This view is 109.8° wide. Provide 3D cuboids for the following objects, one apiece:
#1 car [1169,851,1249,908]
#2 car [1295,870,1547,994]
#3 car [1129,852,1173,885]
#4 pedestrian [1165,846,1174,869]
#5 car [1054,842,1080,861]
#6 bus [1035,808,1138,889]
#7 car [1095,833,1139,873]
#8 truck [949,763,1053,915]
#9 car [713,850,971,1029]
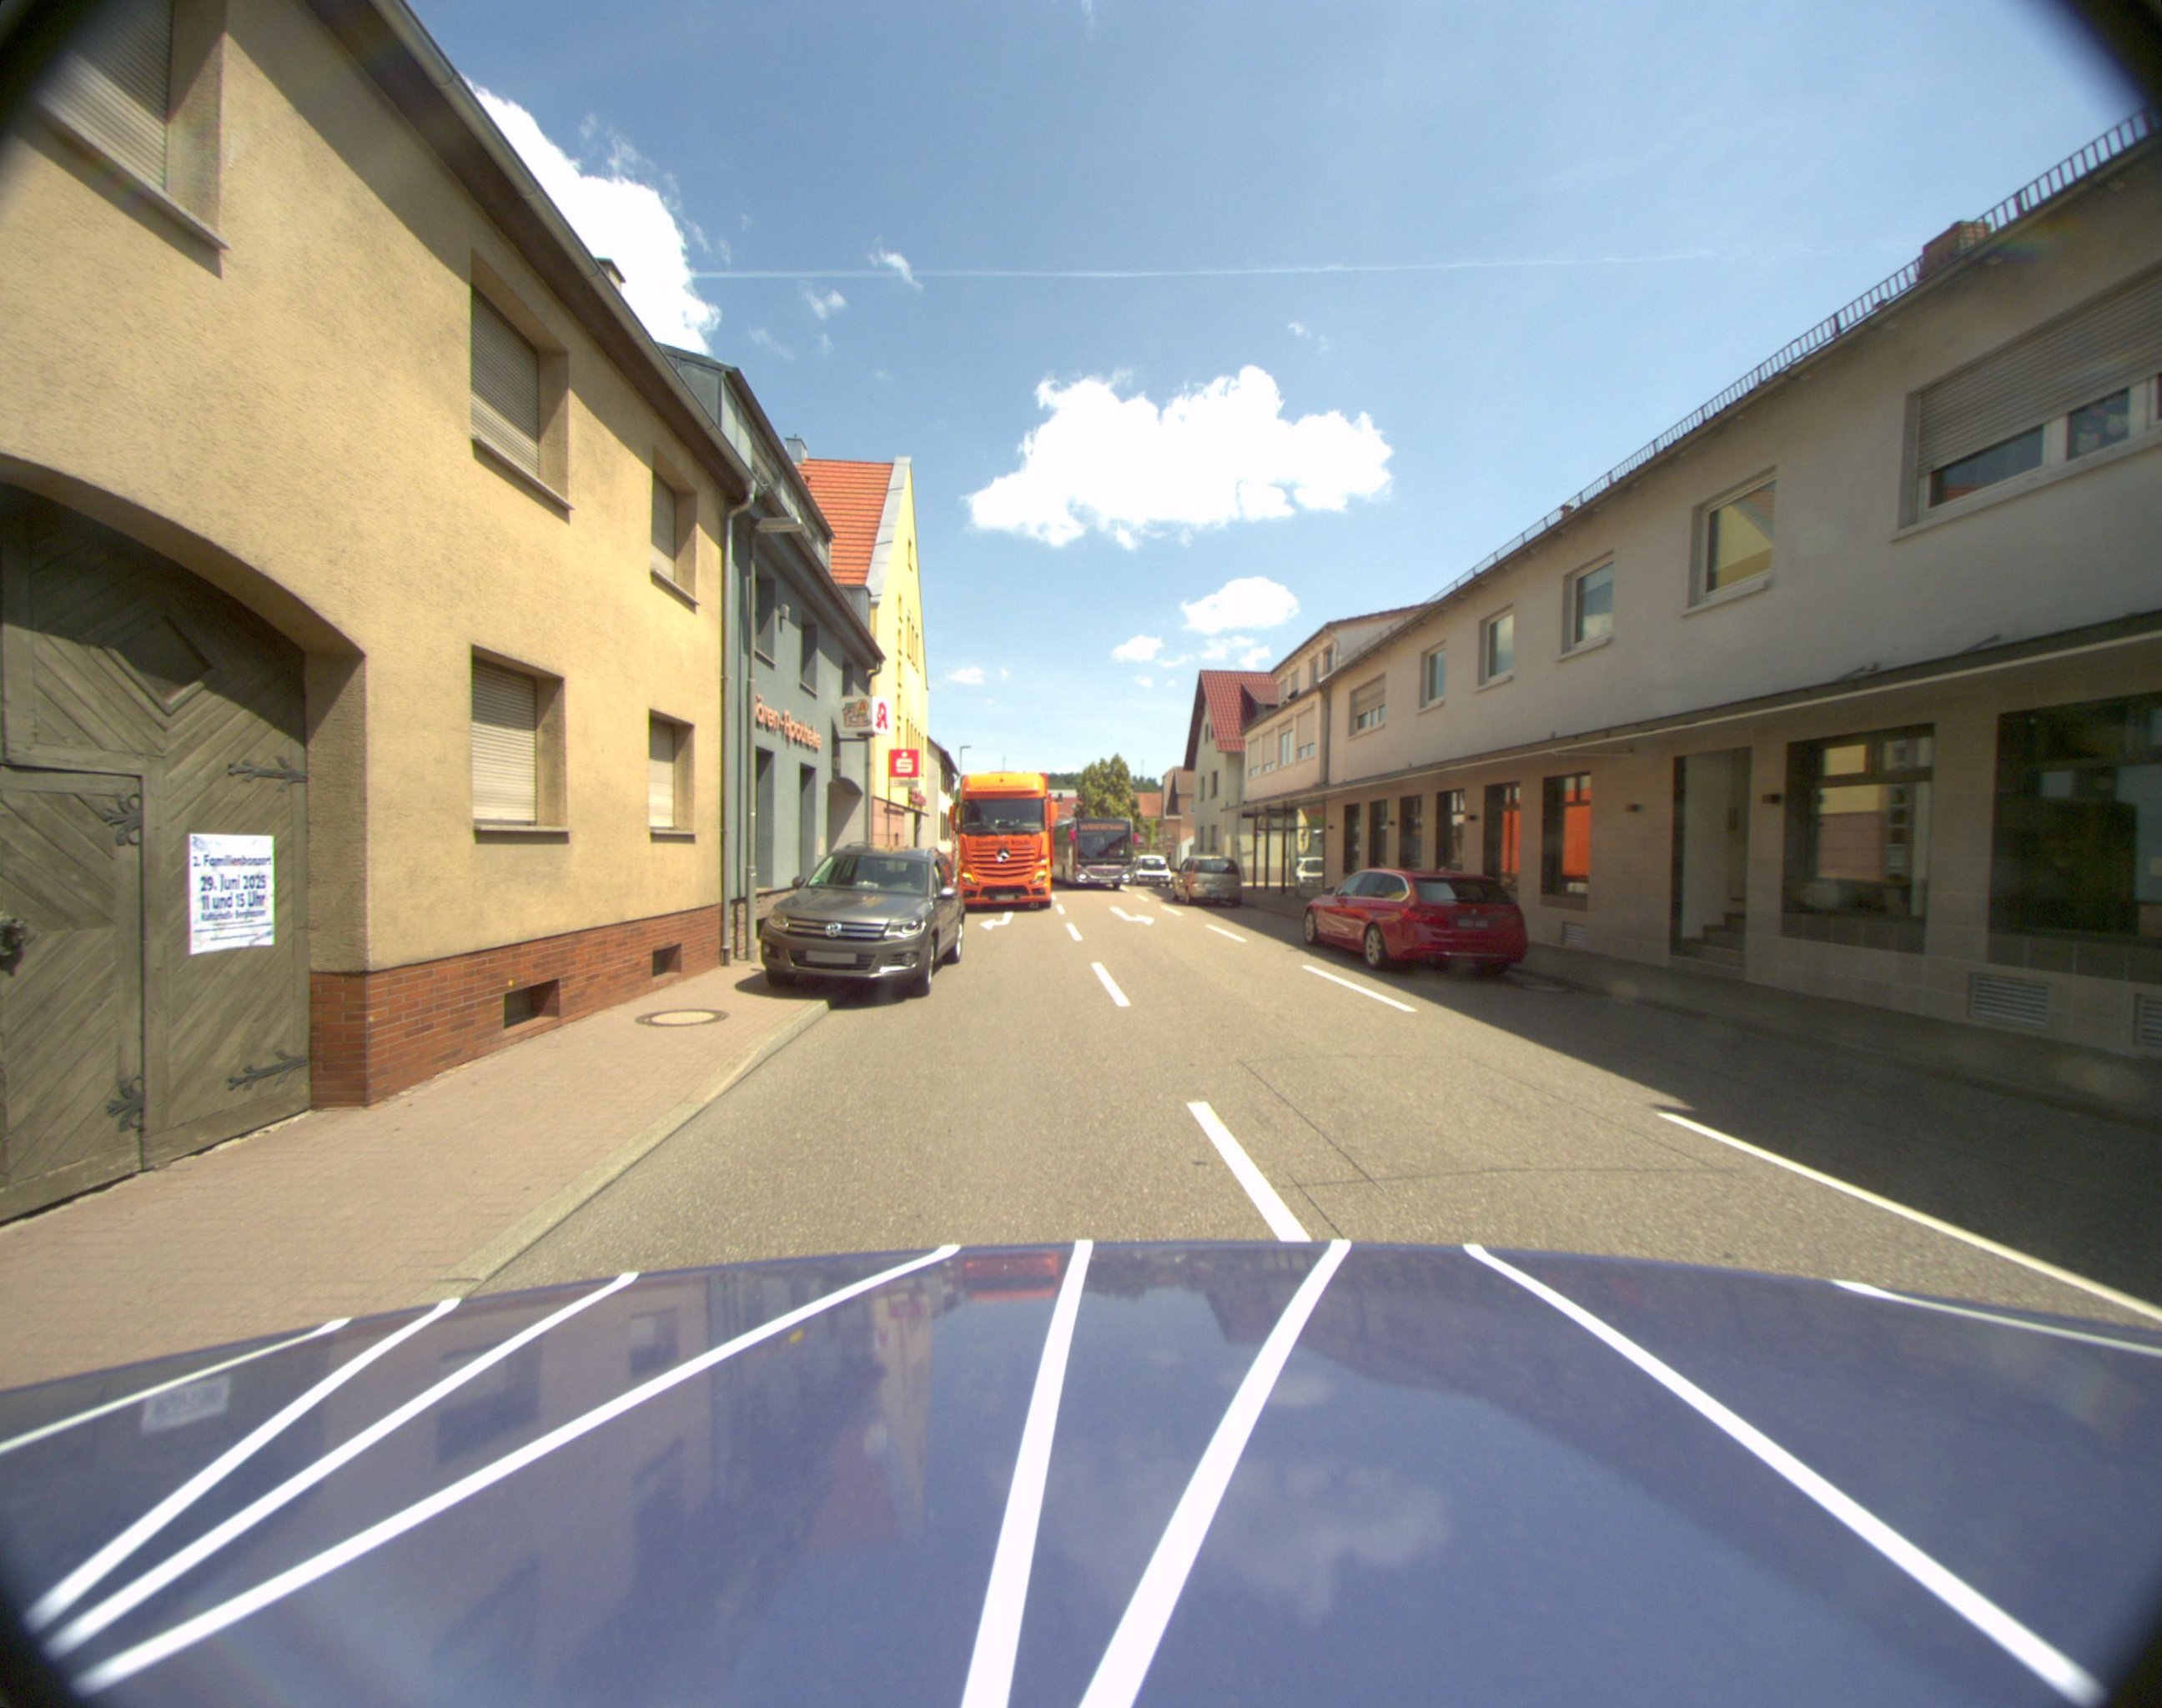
[{"bbox_3d":[4.085,0.797,24.883,1.684,1.607,3.820,4,-1,-3],"label":"car"},{"bbox_3d":[4.765,1.003,11.439,1.722,1.400,4.284,2,0,-2],"label":"car"},{"bbox_3d":[3.356,0.670,36.831,1.601,1.447,3.446,2,1,-3],"label":"car"},{"bbox_3d":[6.629,0.276,57.035,0.472,1.754,0.477,0,2,-25],"label":"pedestrian"},{"bbox_3d":[-1.152,-0.222,60.696,1.602,1.447,3.444,2,1,-7],"label":"car"},{"bbox_3d":[-0.335,-0.220,39.638,2.861,3.186,19.019,-1,0,-7],"label":"bus"},{"bbox_3d":[2.402,-0.069,51.881,2.147,2.554,5.390,2,0,-6],"label":"car"},{"bbox_3d":[-2.303,-0.378,25.145,2.615,3.922,9.990,-2,0,-2],"label":"truck"},{"bbox_3d":[-2.675,0.843,9.615,1.999,1.699,4.100,2,1,-1],"label":"car"}]
